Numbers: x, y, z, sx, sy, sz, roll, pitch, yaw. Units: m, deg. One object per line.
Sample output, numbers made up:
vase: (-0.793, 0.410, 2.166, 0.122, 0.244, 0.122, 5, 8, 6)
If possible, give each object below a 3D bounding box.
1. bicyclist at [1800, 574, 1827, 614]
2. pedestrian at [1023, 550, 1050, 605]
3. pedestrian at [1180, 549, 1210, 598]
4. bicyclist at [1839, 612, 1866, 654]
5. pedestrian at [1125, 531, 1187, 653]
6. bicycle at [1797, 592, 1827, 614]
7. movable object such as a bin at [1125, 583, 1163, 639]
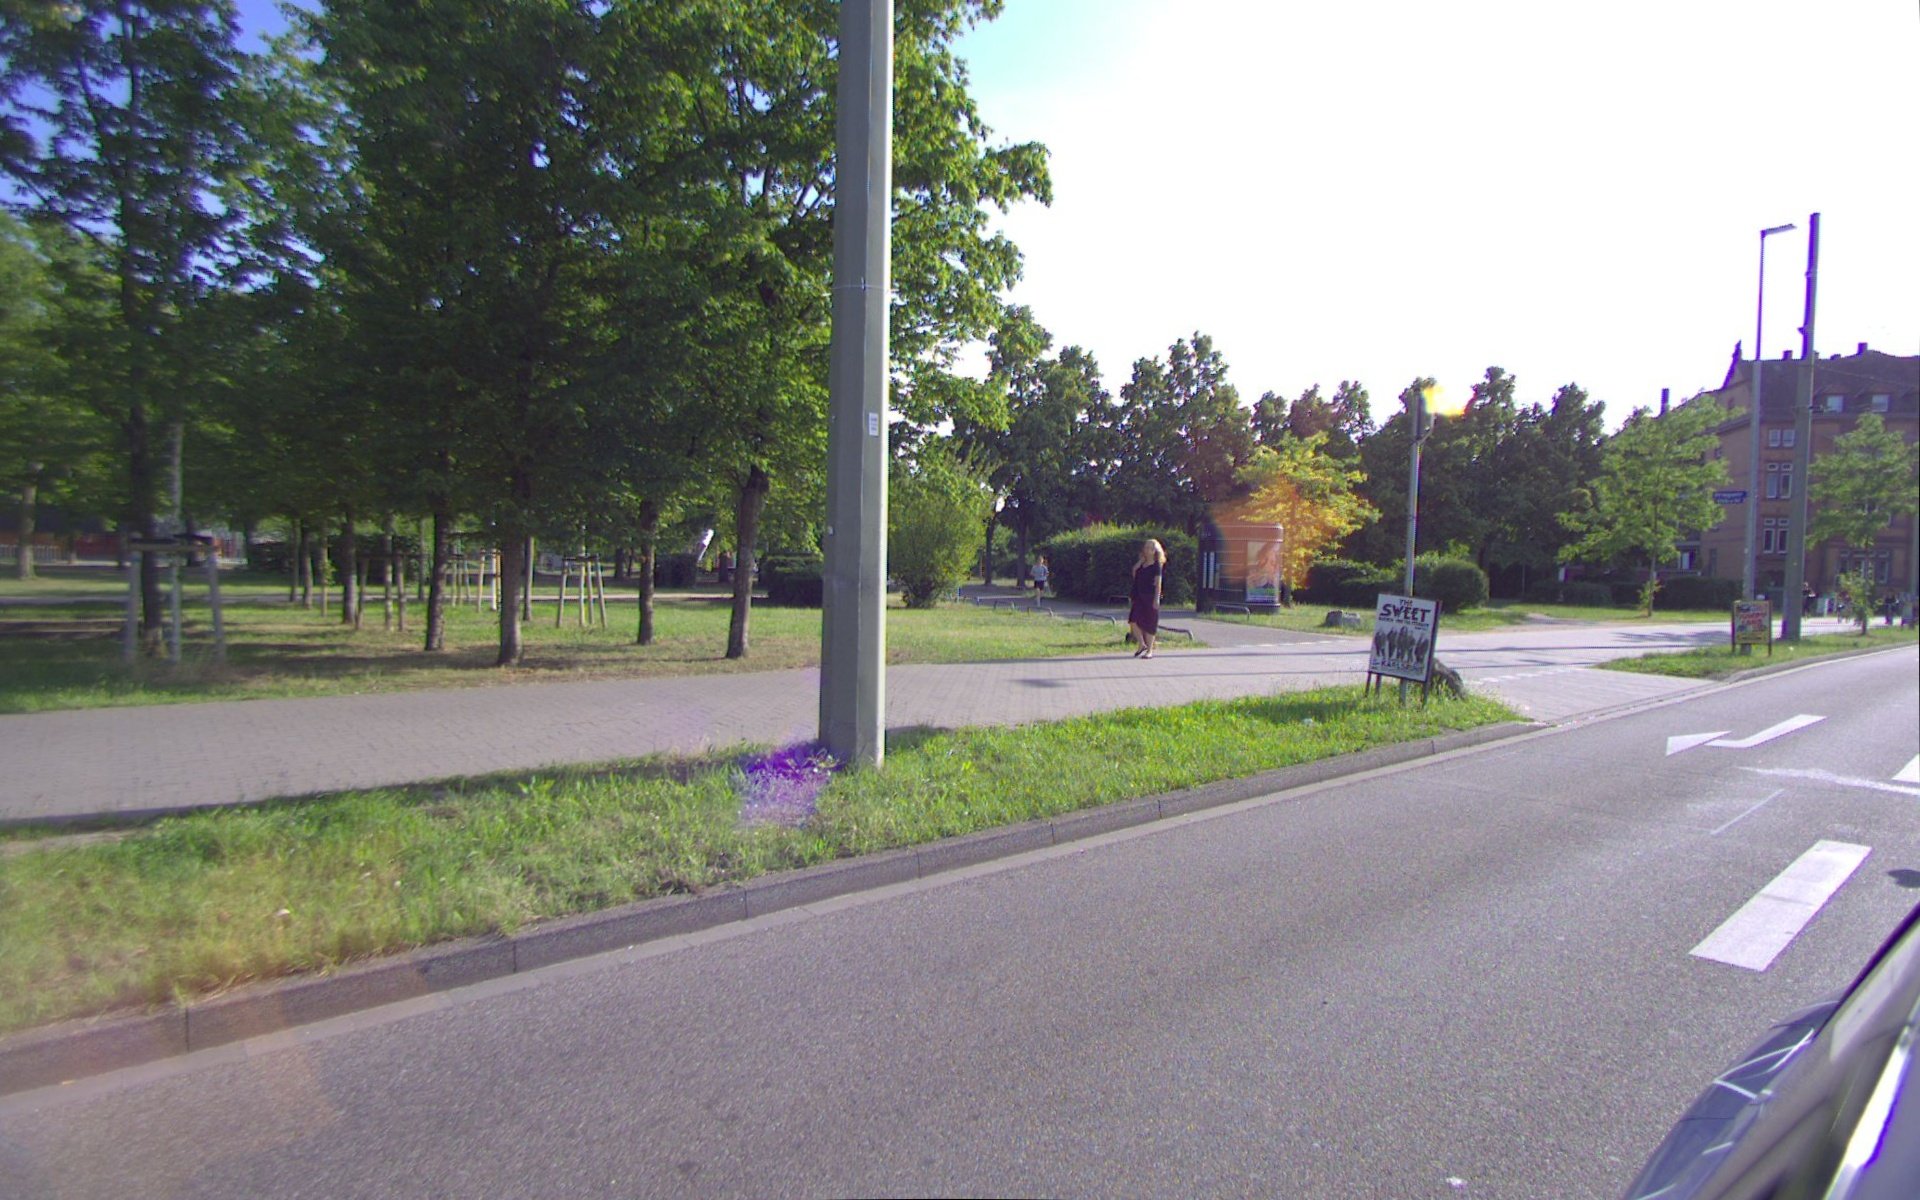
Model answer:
bicyclist: (38.814, -0.271, 46.027, 1.099, 1.795, 0.753, 0, 2, -42)
pedestrian: (2.359, -0.708, 31.225, 0.609, 1.671, 0.664, 1, 2, -15)
pedestrian: (10.569, -1.207, 45.562, 0.872, 2.184, 0.914, 1, 2, -28)
bicyclist: (39.884, 1.477, 45.207, 0.998, 1.795, 0.730, 0, 2, -42)
pedestrian: (2.865, -0.128, 14.791, 0.651, 1.721, 0.558, 0, 2, -41)
bicycle: (38.629, 0.120, 45.886, 2.059, 0.929, 0.739, 0, 3, -42)
movable object such as a bin: (3.113, 0.186, 17.135, 0.514, 0.915, 0.504, 1, 2, -2)
